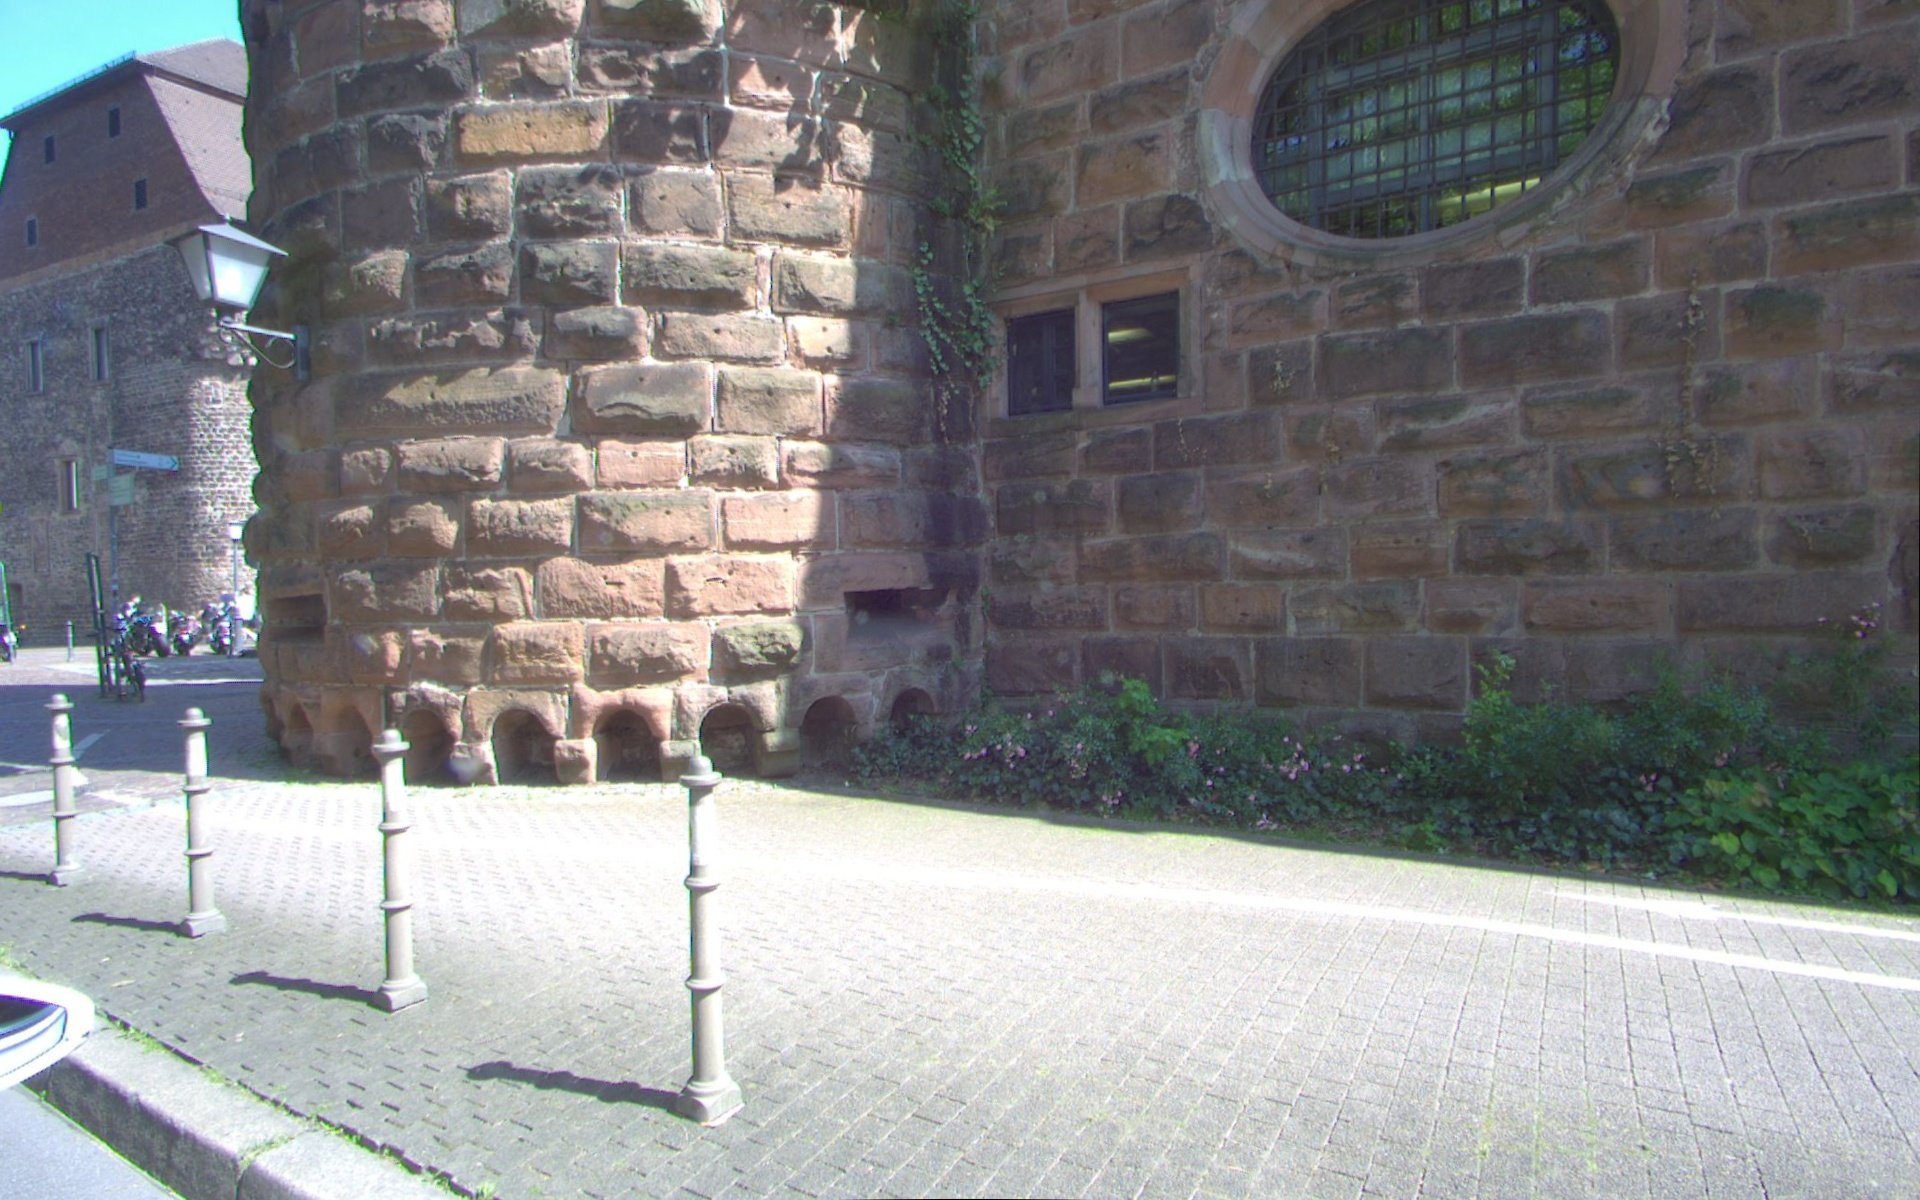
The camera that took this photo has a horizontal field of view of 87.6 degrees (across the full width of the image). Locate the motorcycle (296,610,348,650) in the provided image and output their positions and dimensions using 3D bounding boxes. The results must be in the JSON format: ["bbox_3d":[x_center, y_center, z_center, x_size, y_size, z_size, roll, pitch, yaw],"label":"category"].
[{"bbox_3d":[-17.896,0.852,28.076,1.814,1.087,0.506,-1,-2,32],"label":"motorcycle"}]

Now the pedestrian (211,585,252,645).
[{"bbox_3d":[-24.905,0.518,34.228,0.861,2.039,0.733,0,-1,4],"label":"pedestrian"}]

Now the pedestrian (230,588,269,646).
[{"bbox_3d":[-23.464,0.572,33.065,0.805,1.908,0.671,0,-1,1],"label":"pedestrian"}]

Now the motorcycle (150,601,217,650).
[{"bbox_3d":[-20.514,0.684,26.436,2.280,1.251,0.674,-1,-2,32],"label":"motorcycle"}]

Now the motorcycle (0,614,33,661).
[{"bbox_3d":[-22.175,0.840,23.043,2.453,1.026,0.565,0,1,32],"label":"motorcycle"}]

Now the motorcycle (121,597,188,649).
[{"bbox_3d":[-20.521,0.592,25.491,2.169,1.282,0.654,-1,-1,32],"label":"motorcycle"}]

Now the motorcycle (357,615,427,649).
[{"bbox_3d":[-17.859,1.007,31.522,0.474,1.067,1.858,-1,-2,40],"label":"motorcycle"}]

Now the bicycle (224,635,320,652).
[{"bbox_3d":[-17.582,1.108,25.608,1.916,0.386,0.909,0,-2,-44],"label":"bicycle"}]

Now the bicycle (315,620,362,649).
[{"bbox_3d":[-18.375,1.005,29.608,1.898,0.831,0.353,0,-1,32],"label":"bicycle"}]

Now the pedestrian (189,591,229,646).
[{"bbox_3d":[-24.935,0.617,33.247,0.831,1.826,0.654,0,0,10],"label":"pedestrian"}]

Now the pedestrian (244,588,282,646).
[{"bbox_3d":[-23.494,0.572,33.760,0.805,1.944,0.671,0,-1,-1],"label":"pedestrian"}]

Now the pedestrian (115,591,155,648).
[{"bbox_3d":[-24.661,0.572,29.946,0.799,1.684,0.652,-1,1,-34],"label":"pedestrian"}]

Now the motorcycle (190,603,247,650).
[{"bbox_3d":[-20.152,0.731,27.208,2.002,1.251,0.545,-1,-2,32],"label":"motorcycle"}]

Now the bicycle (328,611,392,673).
[{"bbox_3d":[-11.920,0.810,19.882,1.707,1.178,0.445,0,1,36],"label":"bicycle"}]

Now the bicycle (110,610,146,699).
[{"bbox_3d":[-12.017,0.757,14.451,1.750,1.220,0.192,0,0,44],"label":"bicycle"}]
